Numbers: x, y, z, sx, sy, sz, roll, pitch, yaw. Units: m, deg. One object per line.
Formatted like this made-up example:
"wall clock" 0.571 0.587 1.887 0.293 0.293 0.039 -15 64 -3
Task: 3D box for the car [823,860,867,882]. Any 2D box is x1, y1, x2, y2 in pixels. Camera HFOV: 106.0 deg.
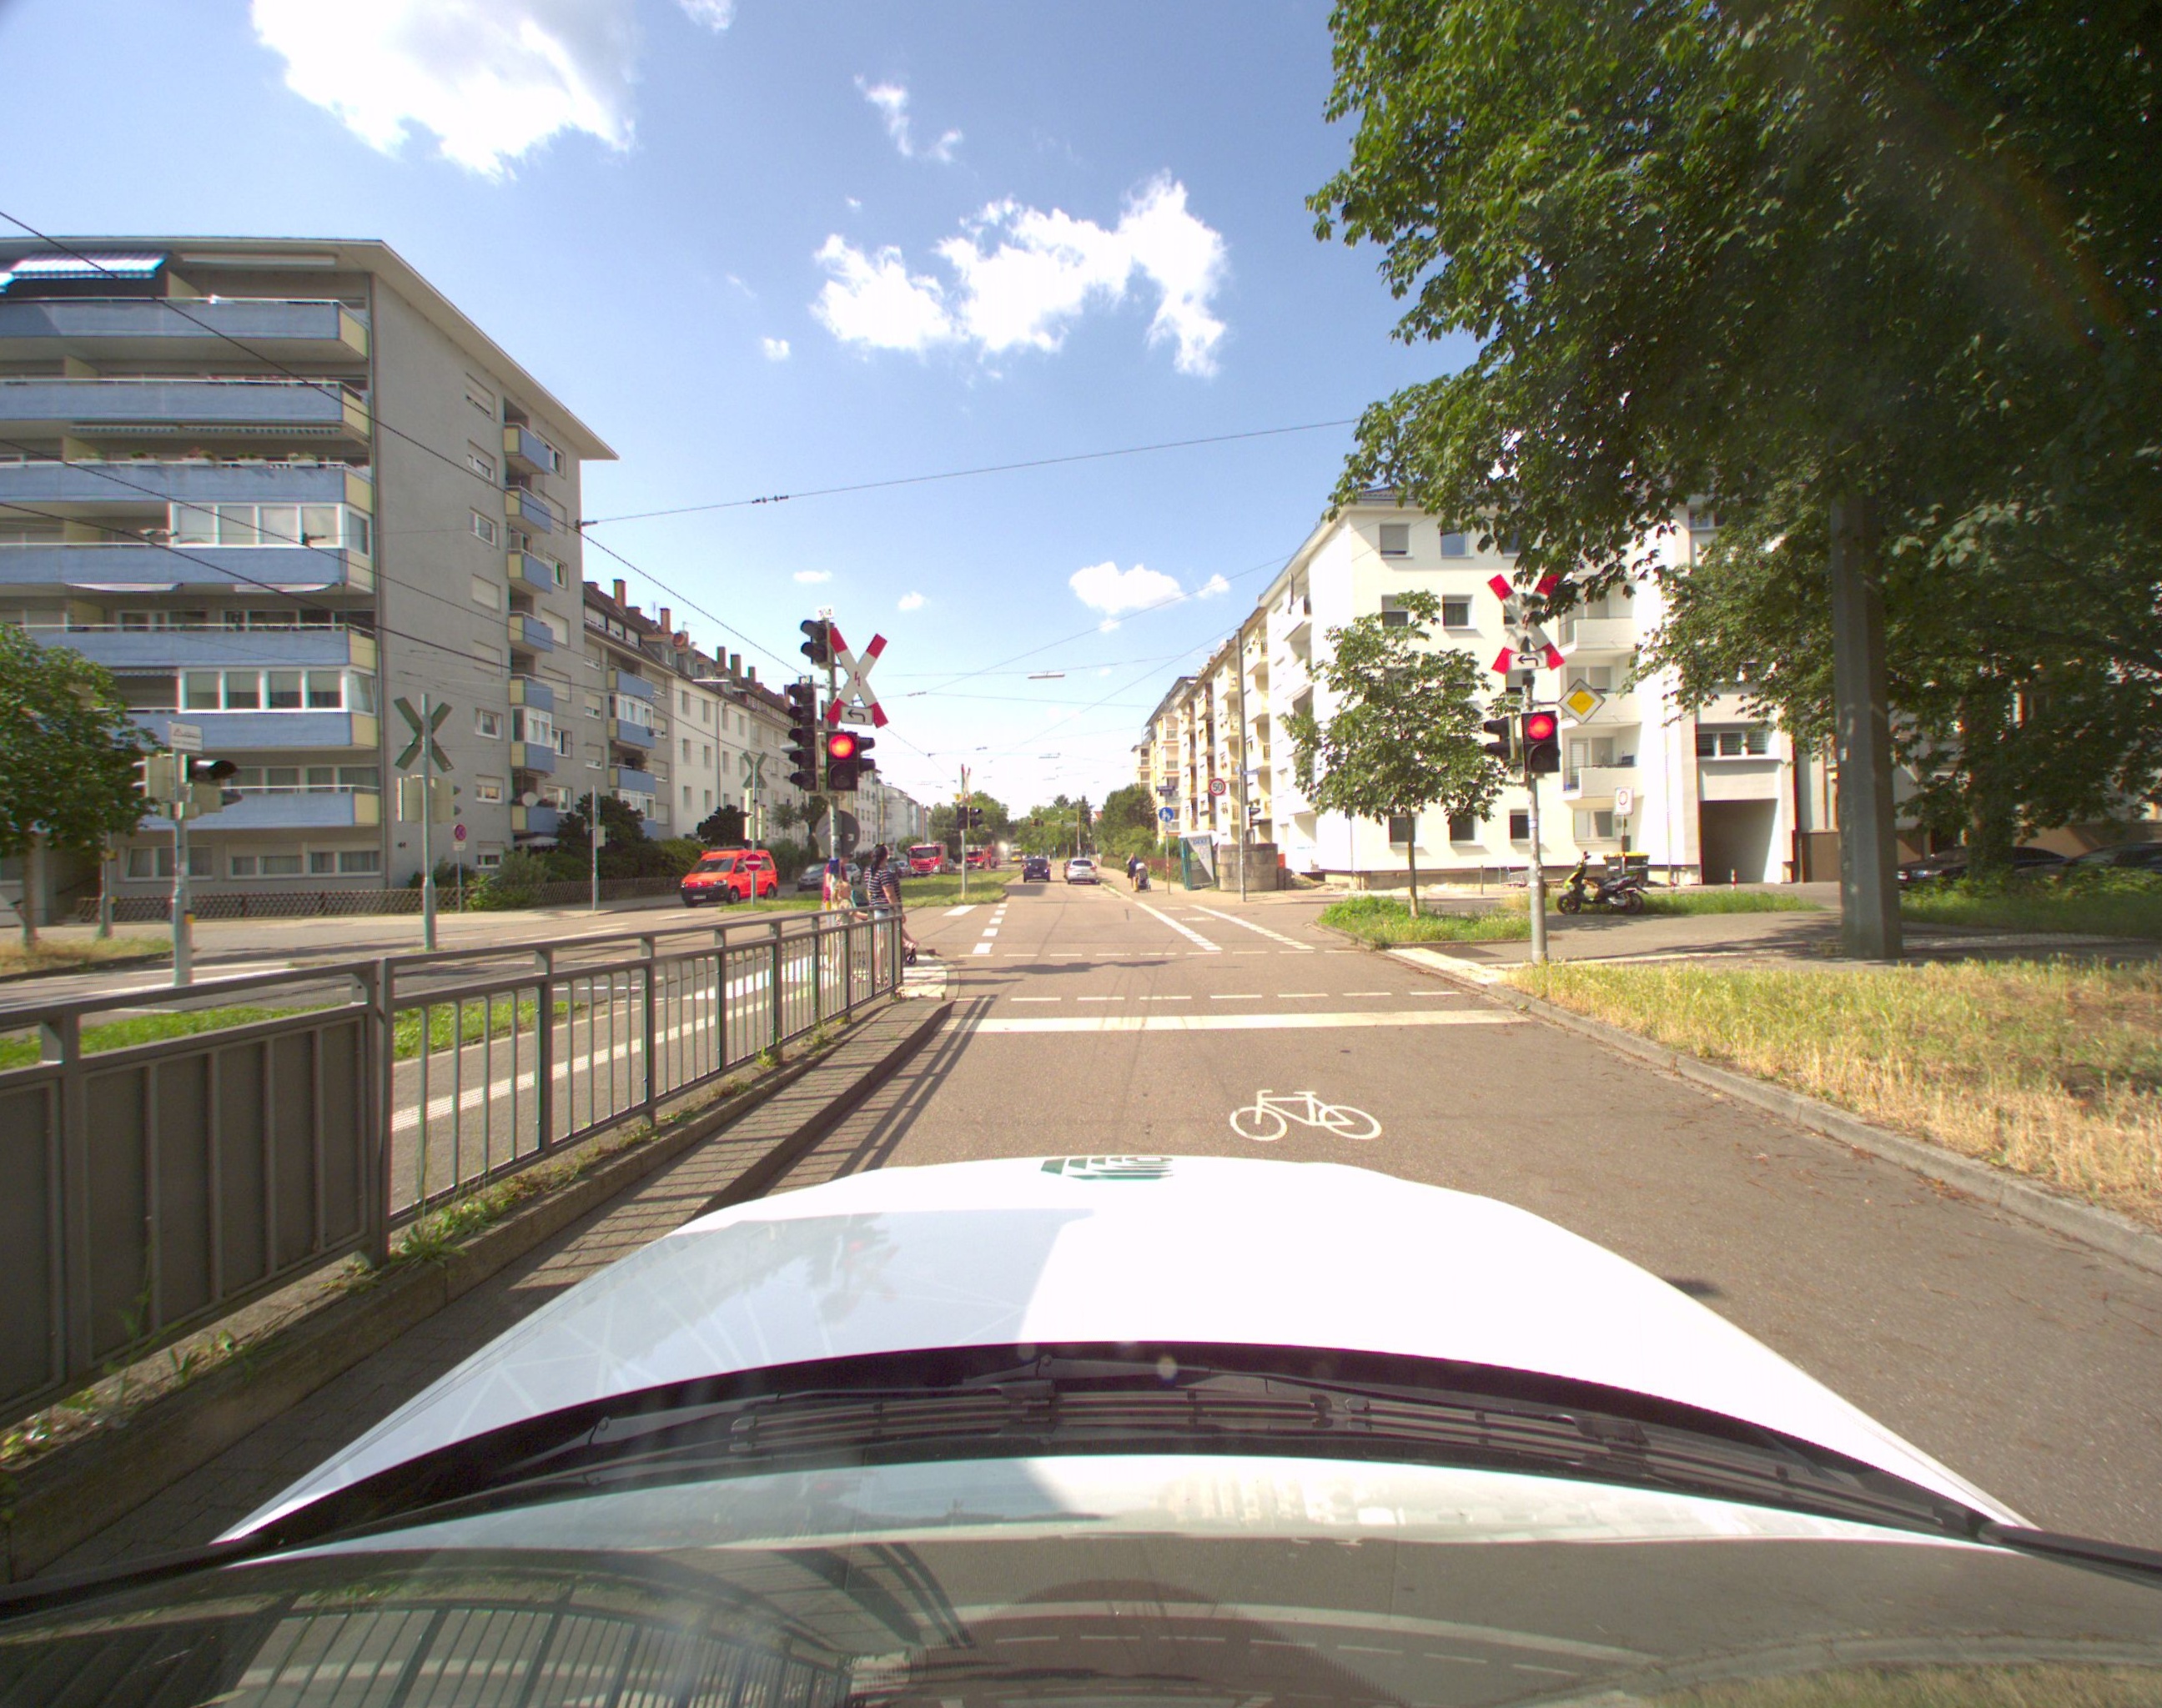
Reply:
"car" -15.894 1.144 55.012 1.762 1.442 3.999 0 -1 0

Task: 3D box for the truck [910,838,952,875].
"truck" -13.826 0.216 75.480 2.590 3.186 8.374 -1 0 -2

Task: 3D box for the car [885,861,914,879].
"car" -16.879 1.465 75.907 1.988 1.711 3.997 0 -1 -2

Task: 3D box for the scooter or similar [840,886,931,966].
"scooter or similar" -2.682 0.975 11.230 1.097 1.056 0.650 0 -1 -2

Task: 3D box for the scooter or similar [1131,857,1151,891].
"scooter or similar" 2.487 0.822 33.870 0.660 1.303 0.868 -5 0 -1

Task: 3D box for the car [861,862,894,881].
"car" -16.183 1.398 64.988 1.763 1.442 3.997 0 -1 -2

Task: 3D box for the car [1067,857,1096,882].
"car" 0.025 0.901 48.420 1.617 1.465 3.509 0 -1 -1

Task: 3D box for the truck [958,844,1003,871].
"truck" -13.524 0.497 110.946 2.648 3.470 10.204 0 -1 13

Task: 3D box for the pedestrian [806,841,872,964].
"pedestrian" -3.330 0.657 11.259 0.703 1.648 0.636 1 -1 -1

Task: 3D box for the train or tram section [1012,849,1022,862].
"train or tram section" -15.726 0.475 201.719 2.254 3.069 8.122 -2 0 -4

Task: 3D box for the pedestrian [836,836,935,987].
"pedestrian" -2.308 0.637 9.595 0.852 1.667 0.790 -1 -1 -36

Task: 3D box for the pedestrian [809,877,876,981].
"pedestrian" -2.916 0.882 9.925 0.640 1.180 0.792 -1 -1 -25

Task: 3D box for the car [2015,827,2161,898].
"car" 23.227 0.162 17.508 1.733 1.459 4.001 -2 0 1

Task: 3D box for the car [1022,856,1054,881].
"car" -2.684 0.903 51.555 1.737 1.507 4.001 0 -1 1

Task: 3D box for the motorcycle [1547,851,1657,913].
"motorcycle" 11.045 0.599 17.336 0.574 1.215 1.829 -6 1 -30

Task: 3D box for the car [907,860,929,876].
"car" -17.195 1.461 86.070 1.772 1.557 3.995 0 -1 -3

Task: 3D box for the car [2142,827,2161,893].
"car" 26.034 0.125 17.462 1.794 1.539 4.013 -2 0 11

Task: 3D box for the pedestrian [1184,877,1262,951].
"pedestrian" 4.257 1.756 25.021 1.984 2.014 4.004 0 -1 4

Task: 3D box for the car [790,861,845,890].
"car" -15.772 1.265 48.990 1.987 1.645 3.999 0 -1 0

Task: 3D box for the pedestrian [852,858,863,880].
"pedestrian" -18.928 1.260 68.981 0.704 1.794 0.863 -2 0 -5

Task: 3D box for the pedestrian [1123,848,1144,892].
"pedestrian" 2.254 0.666 34.767 0.699 1.789 1.030 -4 0 0

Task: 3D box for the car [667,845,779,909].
"car" -13.990 0.847 32.222 1.985 2.275 4.838 -2 0 3
